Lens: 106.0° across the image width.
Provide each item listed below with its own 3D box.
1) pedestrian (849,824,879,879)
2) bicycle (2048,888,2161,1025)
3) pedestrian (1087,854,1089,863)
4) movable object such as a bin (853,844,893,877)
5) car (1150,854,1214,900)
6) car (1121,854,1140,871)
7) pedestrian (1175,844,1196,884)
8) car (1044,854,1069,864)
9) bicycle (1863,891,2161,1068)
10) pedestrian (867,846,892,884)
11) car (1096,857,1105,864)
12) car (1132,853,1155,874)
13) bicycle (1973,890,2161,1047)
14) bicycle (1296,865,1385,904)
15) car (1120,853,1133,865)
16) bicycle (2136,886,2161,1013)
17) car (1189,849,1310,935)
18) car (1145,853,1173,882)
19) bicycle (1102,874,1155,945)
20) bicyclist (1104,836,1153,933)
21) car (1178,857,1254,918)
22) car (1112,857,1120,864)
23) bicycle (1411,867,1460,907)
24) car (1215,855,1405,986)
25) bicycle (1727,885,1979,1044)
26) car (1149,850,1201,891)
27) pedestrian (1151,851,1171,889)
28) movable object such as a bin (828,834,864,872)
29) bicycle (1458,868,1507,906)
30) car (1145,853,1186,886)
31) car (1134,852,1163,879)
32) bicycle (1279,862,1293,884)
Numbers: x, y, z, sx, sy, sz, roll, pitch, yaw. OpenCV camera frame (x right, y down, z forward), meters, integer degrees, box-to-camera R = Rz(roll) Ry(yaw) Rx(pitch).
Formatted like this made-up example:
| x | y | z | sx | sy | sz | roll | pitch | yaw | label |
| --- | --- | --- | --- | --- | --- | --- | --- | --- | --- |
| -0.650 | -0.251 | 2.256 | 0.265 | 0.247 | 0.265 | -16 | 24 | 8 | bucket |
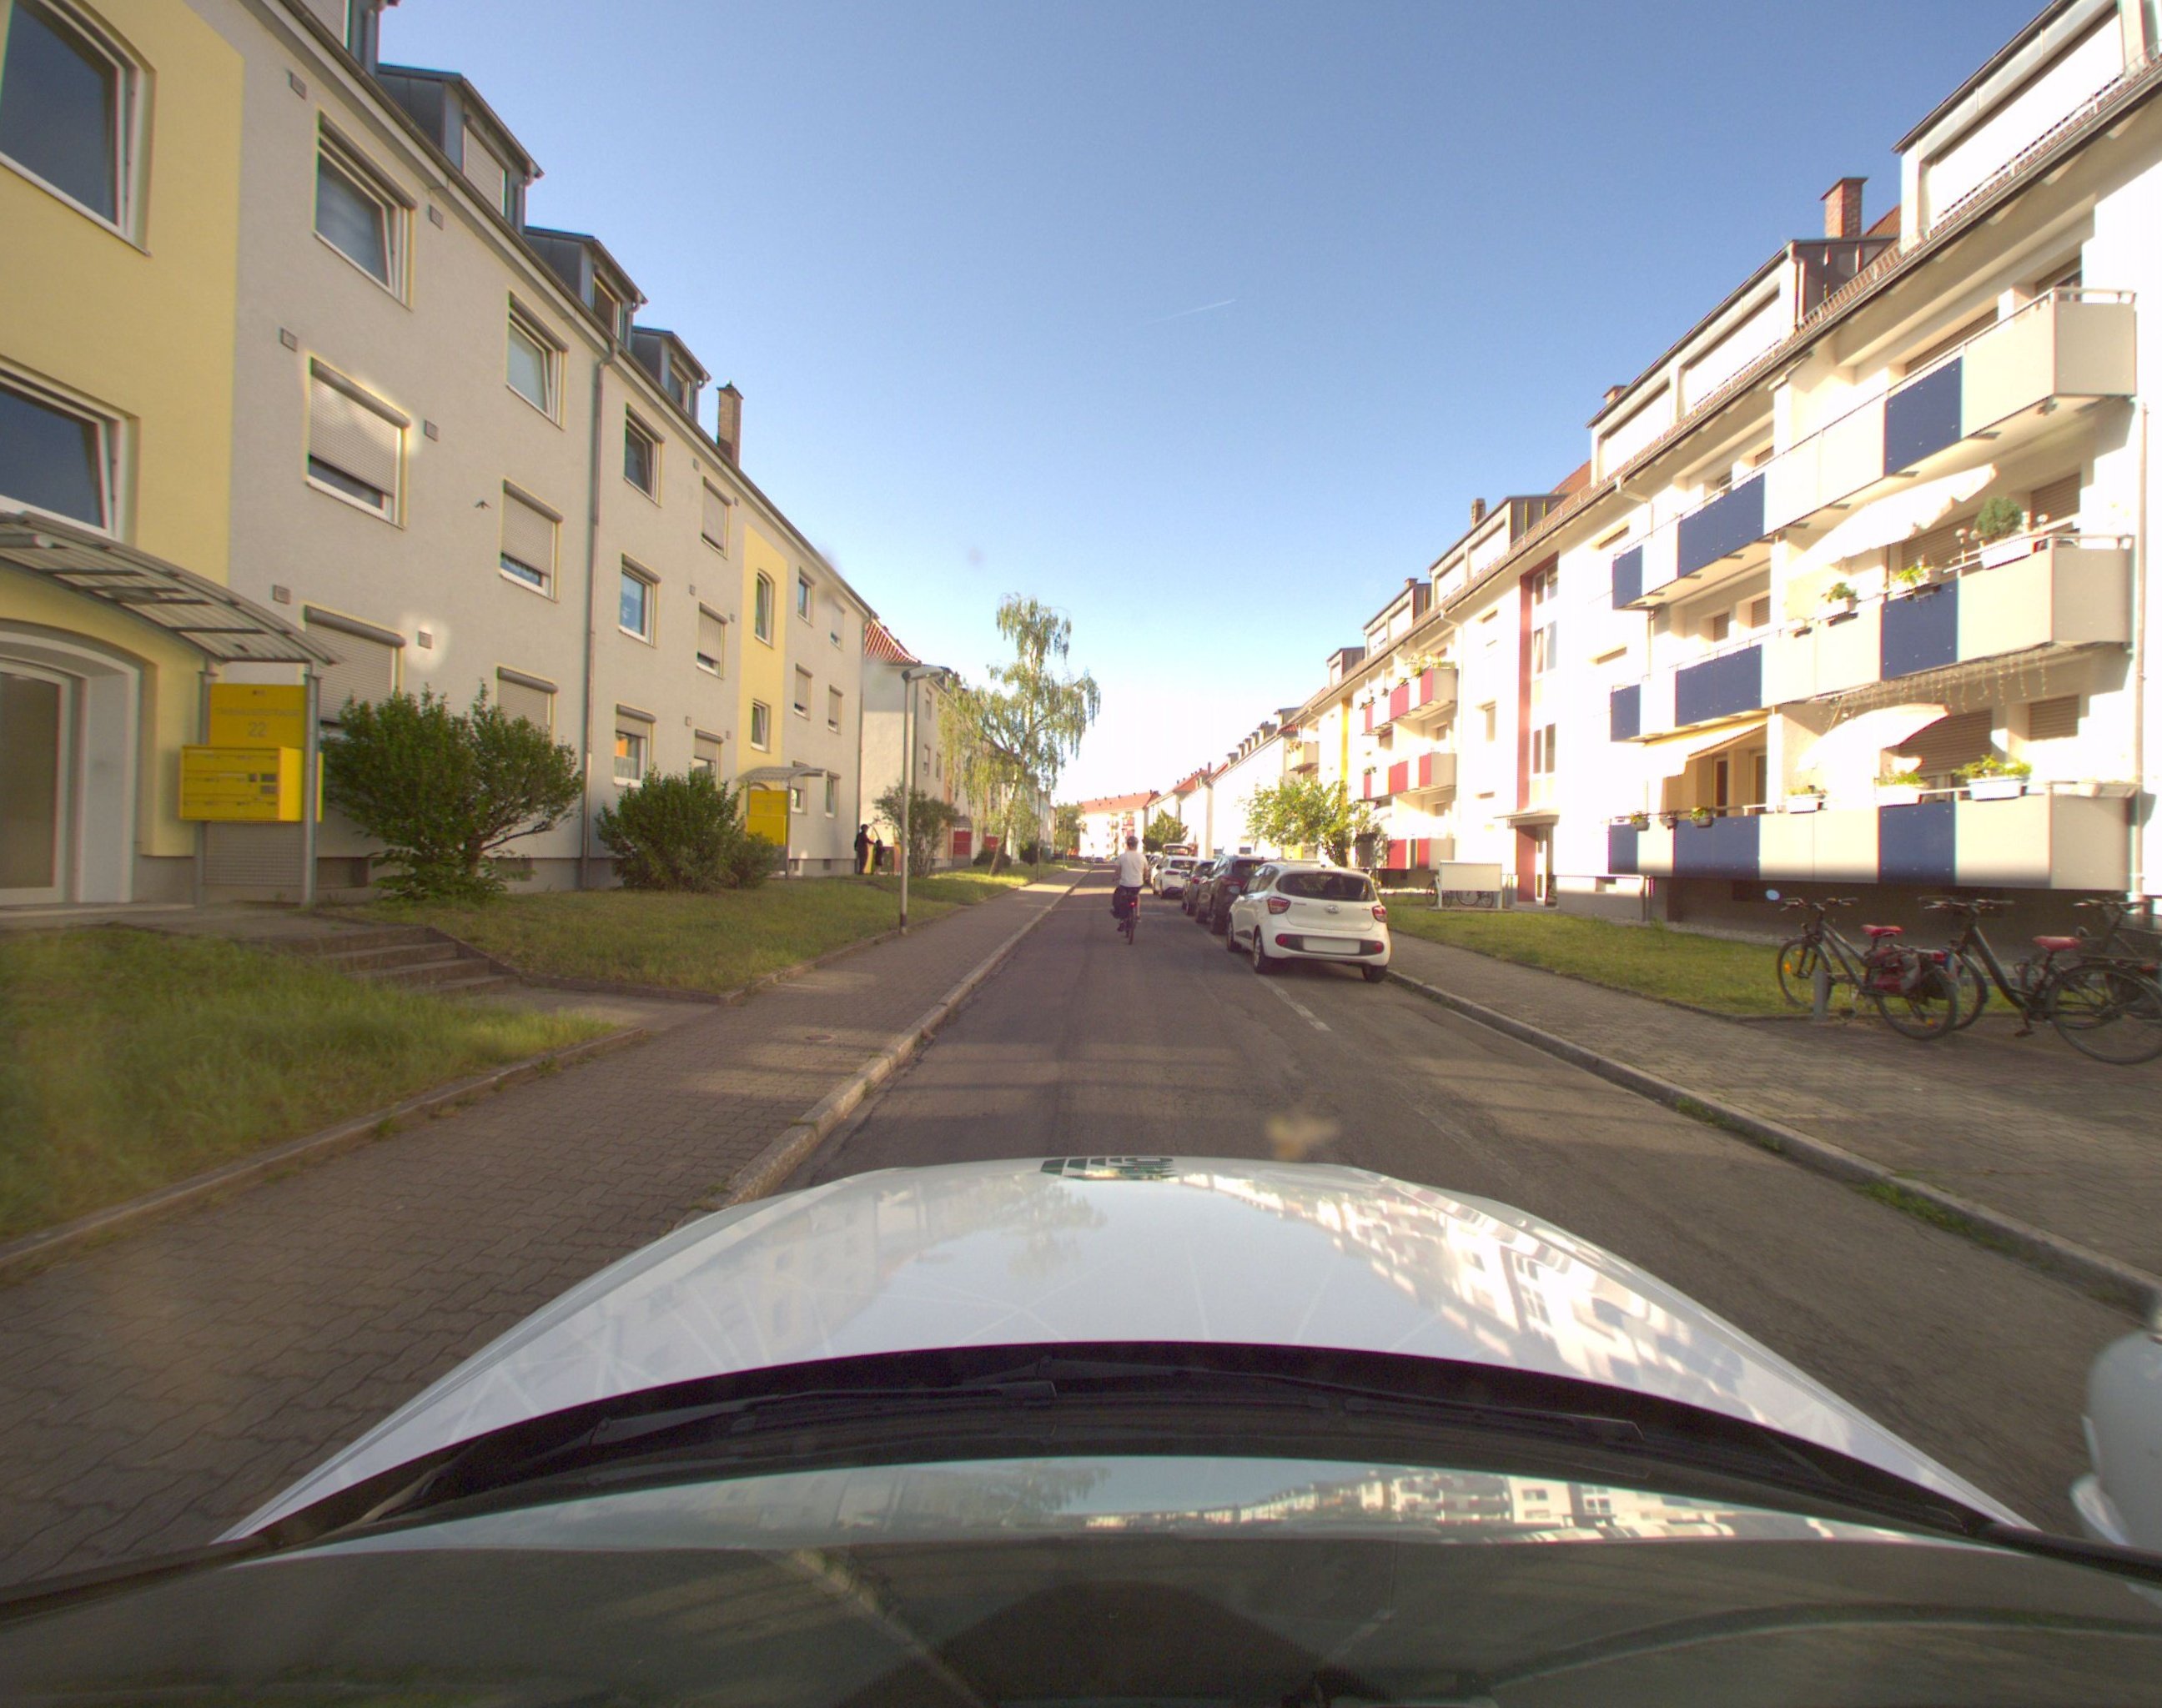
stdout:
| x | y | z | sx | sy | sz | roll | pitch | yaw | label |
| --- | --- | --- | --- | --- | --- | --- | --- | --- | --- |
| -7.335 | -0.074 | 27.559 | 0.802 | 1.824 | 0.718 | 1 | -1 | 2 | pedestrian |
| 9.130 | 0.859 | 6.520 | 0.536 | 1.082 | 1.873 | -2 | 0 | 1 | bicycle |
| 1.279 | 0.820 | 149.132 | 0.432 | 1.574 | 0.543 | 0 | 0 | 1 | pedestrian |
| -9.213 | 0.284 | 36.182 | 1.382 | 1.336 | 1.228 | 3 | 0 | 1 | movable object such as a bin |
| 3.667 | 0.794 | 30.171 | 1.766 | 1.505 | 4.480 | 2 | 0 | 0 | car |
| 5.180 | 0.869 | 85.524 | 1.855 | 1.668 | 4.128 | 3 | 0 | 2 | car |
| 4.348 | 0.409 | 34.038 | 0.816 | 1.687 | 0.604 | 0 | 0 | 1 | pedestrian |
| -4.044 | 0.852 | 134.308 | 4.221 | 1.638 | 1.581 | 1 | 0 | -3 | car |
| 7.469 | 0.908 | 6.553 | 0.575 | 1.132 | 1.873 | -1 | 0 | 1 | bicycle |
| -7.022 | 0.387 | 28.363 | 0.683 | 1.317 | 0.576 | 1 | -1 | 2 | pedestrian |
| 3.659 | 1.190 | 152.522 | 1.464 | 1.335 | 3.140 | 0 | 0 | 0 | car |
| 4.670 | 0.707 | 61.163 | 1.635 | 1.498 | 4.159 | 1 | 0 | 3 | car |
| 8.417 | 0.892 | 6.504 | 0.542 | 1.120 | 1.873 | -1 | 0 | 1 | bicycle |
| 7.751 | 0.907 | 24.412 | 2.410 | 1.130 | 0.881 | 0 | 0 | 7 | bicycle |
| 6.707 | 0.733 | 120.075 | 1.669 | 1.738 | 3.942 | 2 | 0 | 0 | car |
| 9.852 | 0.854 | 6.449 | 0.594 | 1.116 | 1.873 | 0 | 0 | 1 | bicycle |
| 3.392 | 0.702 | 17.148 | 1.717 | 1.578 | 4.353 | 0 | 0 | 1 | car |
| 4.405 | 0.732 | 45.885 | 1.472 | 1.529 | 2.945 | 3 | 0 | 6 | car |
| 0.815 | 0.947 | 14.532 | 0.806 | 1.128 | 2.101 | 0 | 0 | -1 | bicycle |
| 0.824 | 0.519 | 14.314 | 0.806 | 1.643 | 0.899 | 0 | 0 | -1 | bicyclist |
| 3.615 | 0.841 | 22.387 | 1.639 | 1.449 | 4.065 | 3 | 0 | 4 | car |
| 7.245 | 1.330 | 169.335 | 1.377 | 1.497 | 3.076 | 0 | 0 | 0 | car |
| 10.386 | 0.942 | 23.927 | 0.518 | 1.049 | 2.289 | -1 | 0 | 2 | bicycle |
| 3.158 | 0.830 | 12.035 | 1.707 | 1.509 | 3.854 | 4 | 0 | 1 | car |
| 6.784 | 0.899 | 7.312 | 0.542 | 1.170 | 1.874 | -1 | 0 | 3 | bicycle |
| 4.113 | 0.693 | 36.404 | 1.985 | 1.613 | 5.000 | 3 | 0 | 4 | car |
| 3.347 | 0.674 | 34.105 | 0.737 | 1.575 | 0.880 | 0 | 0 | 1 | pedestrian |
| -8.991 | -0.039 | 31.170 | 1.080 | 1.406 | 0.813 | 2 | 0 | 2 | movable object such as a bin |
| 11.692 | 0.939 | 23.774 | 0.518 | 1.037 | 1.976 | 0 | 0 | 2 | bicycle |
| 4.255 | 0.755 | 41.410 | 1.688 | 1.491 | 3.985 | 3 | 0 | 1 | car |
| 4.577 | 0.755 | 56.064 | 1.776 | 1.648 | 4.472 | 3 | 0 | 3 | car |
| 10.436 | 0.958 | 41.481 | 0.401 | 1.087 | 1.300 | 0 | 0 | 2 | bicycle |
